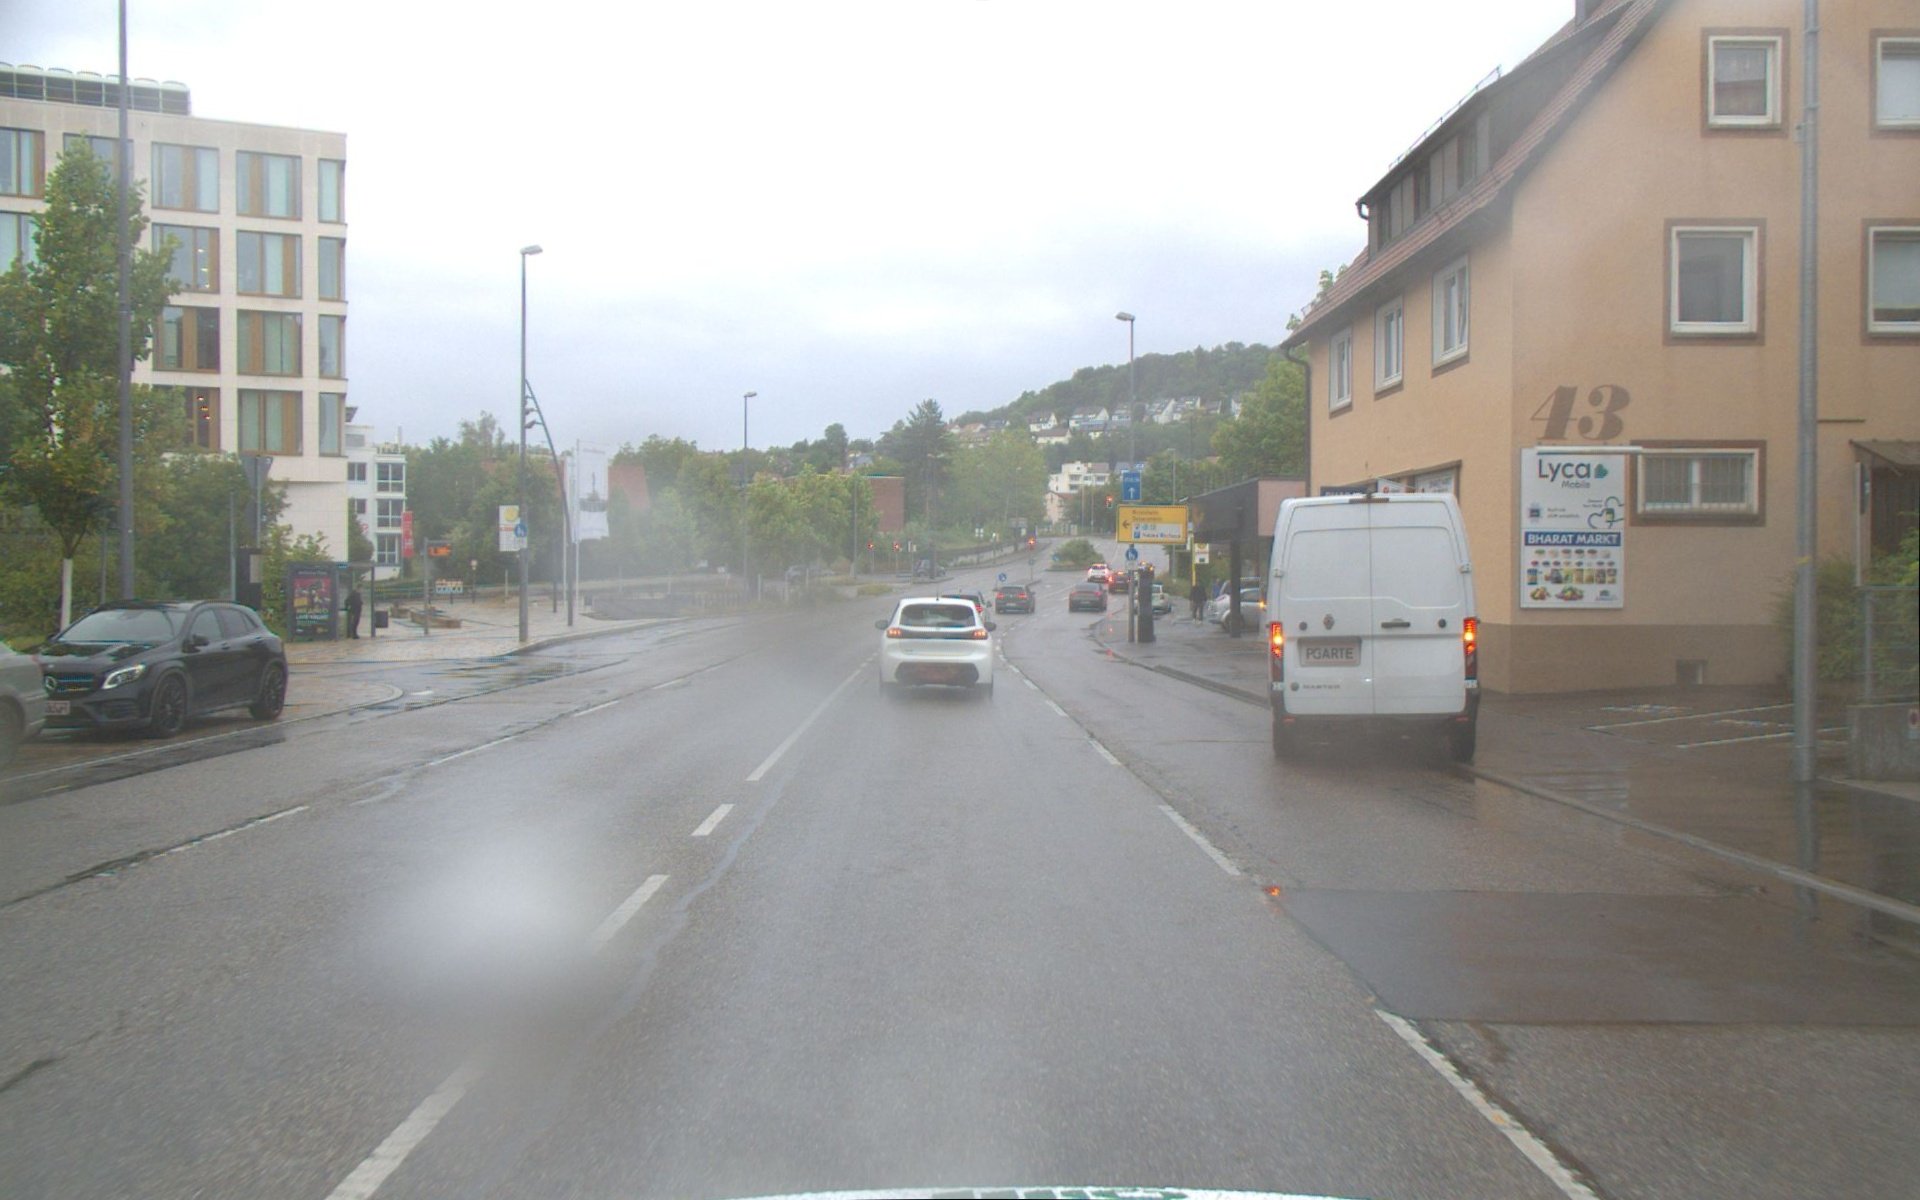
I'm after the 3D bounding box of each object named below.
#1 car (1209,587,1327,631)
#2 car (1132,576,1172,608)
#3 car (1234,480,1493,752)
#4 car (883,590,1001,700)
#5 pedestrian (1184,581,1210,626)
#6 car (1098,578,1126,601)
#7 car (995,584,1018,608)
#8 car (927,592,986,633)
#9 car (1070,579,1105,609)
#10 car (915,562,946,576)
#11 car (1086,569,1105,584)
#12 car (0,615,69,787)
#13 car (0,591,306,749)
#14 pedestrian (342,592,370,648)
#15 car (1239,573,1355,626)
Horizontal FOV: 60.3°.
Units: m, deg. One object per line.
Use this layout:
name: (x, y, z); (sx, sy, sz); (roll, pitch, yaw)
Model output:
car: (10.743, 0.306, 57.922); (3.903, 1.472, 1.747); (-1, 1, 4)
car: (10.014, -0.419, 85.856); (1.693, 1.523, 4.485); (-1, 1, 11)
car: (4.459, 0.219, 18.237); (2.242, 2.424, 6.629); (-1, -1, 14)
car: (-0.313, 0.688, 25.333); (1.657, 1.546, 3.931); (0, -1, -2)
pedestrian: (9.809, 0.137, 68.470); (0.699, 1.853, 0.790); (0, -2, -27)
car: (11.032, -0.757, 120.393); (1.614, 1.511, 3.365); (-1, -1, -1)
car: (2.373, -0.178, 84.516); (1.188, 1.176, 2.270); (0, -1, 1)
car: (-0.087, 0.406, 54.980); (1.705, 1.318, 3.335); (-1, 0, 4)
car: (6.945, -0.357, 90.103); (1.698, 1.411, 3.354); (1, 3, 1)
car: (-2.639, -2.721, 145.551); (2.390, 1.177, 1.359); (0, -1, -27)
car: (10.958, -1.919, 134.144); (1.356, 1.146, 2.610); (-1, -1, 1)
car: (-9.424, 0.888, 13.566); (1.656, 1.536, 4.578); (-1, -1, 2)
car: (-9.252, 0.706, 19.241); (1.555, 1.610, 4.470); (-1, 0, -1)
pedestrian: (-19.341, 0.643, 53.004); (0.769, 1.776, 0.671); (0, -1, -15)
car: (12.499, -0.028, 61.586); (4.008, 1.903, 1.877); (-1, 1, 4)
